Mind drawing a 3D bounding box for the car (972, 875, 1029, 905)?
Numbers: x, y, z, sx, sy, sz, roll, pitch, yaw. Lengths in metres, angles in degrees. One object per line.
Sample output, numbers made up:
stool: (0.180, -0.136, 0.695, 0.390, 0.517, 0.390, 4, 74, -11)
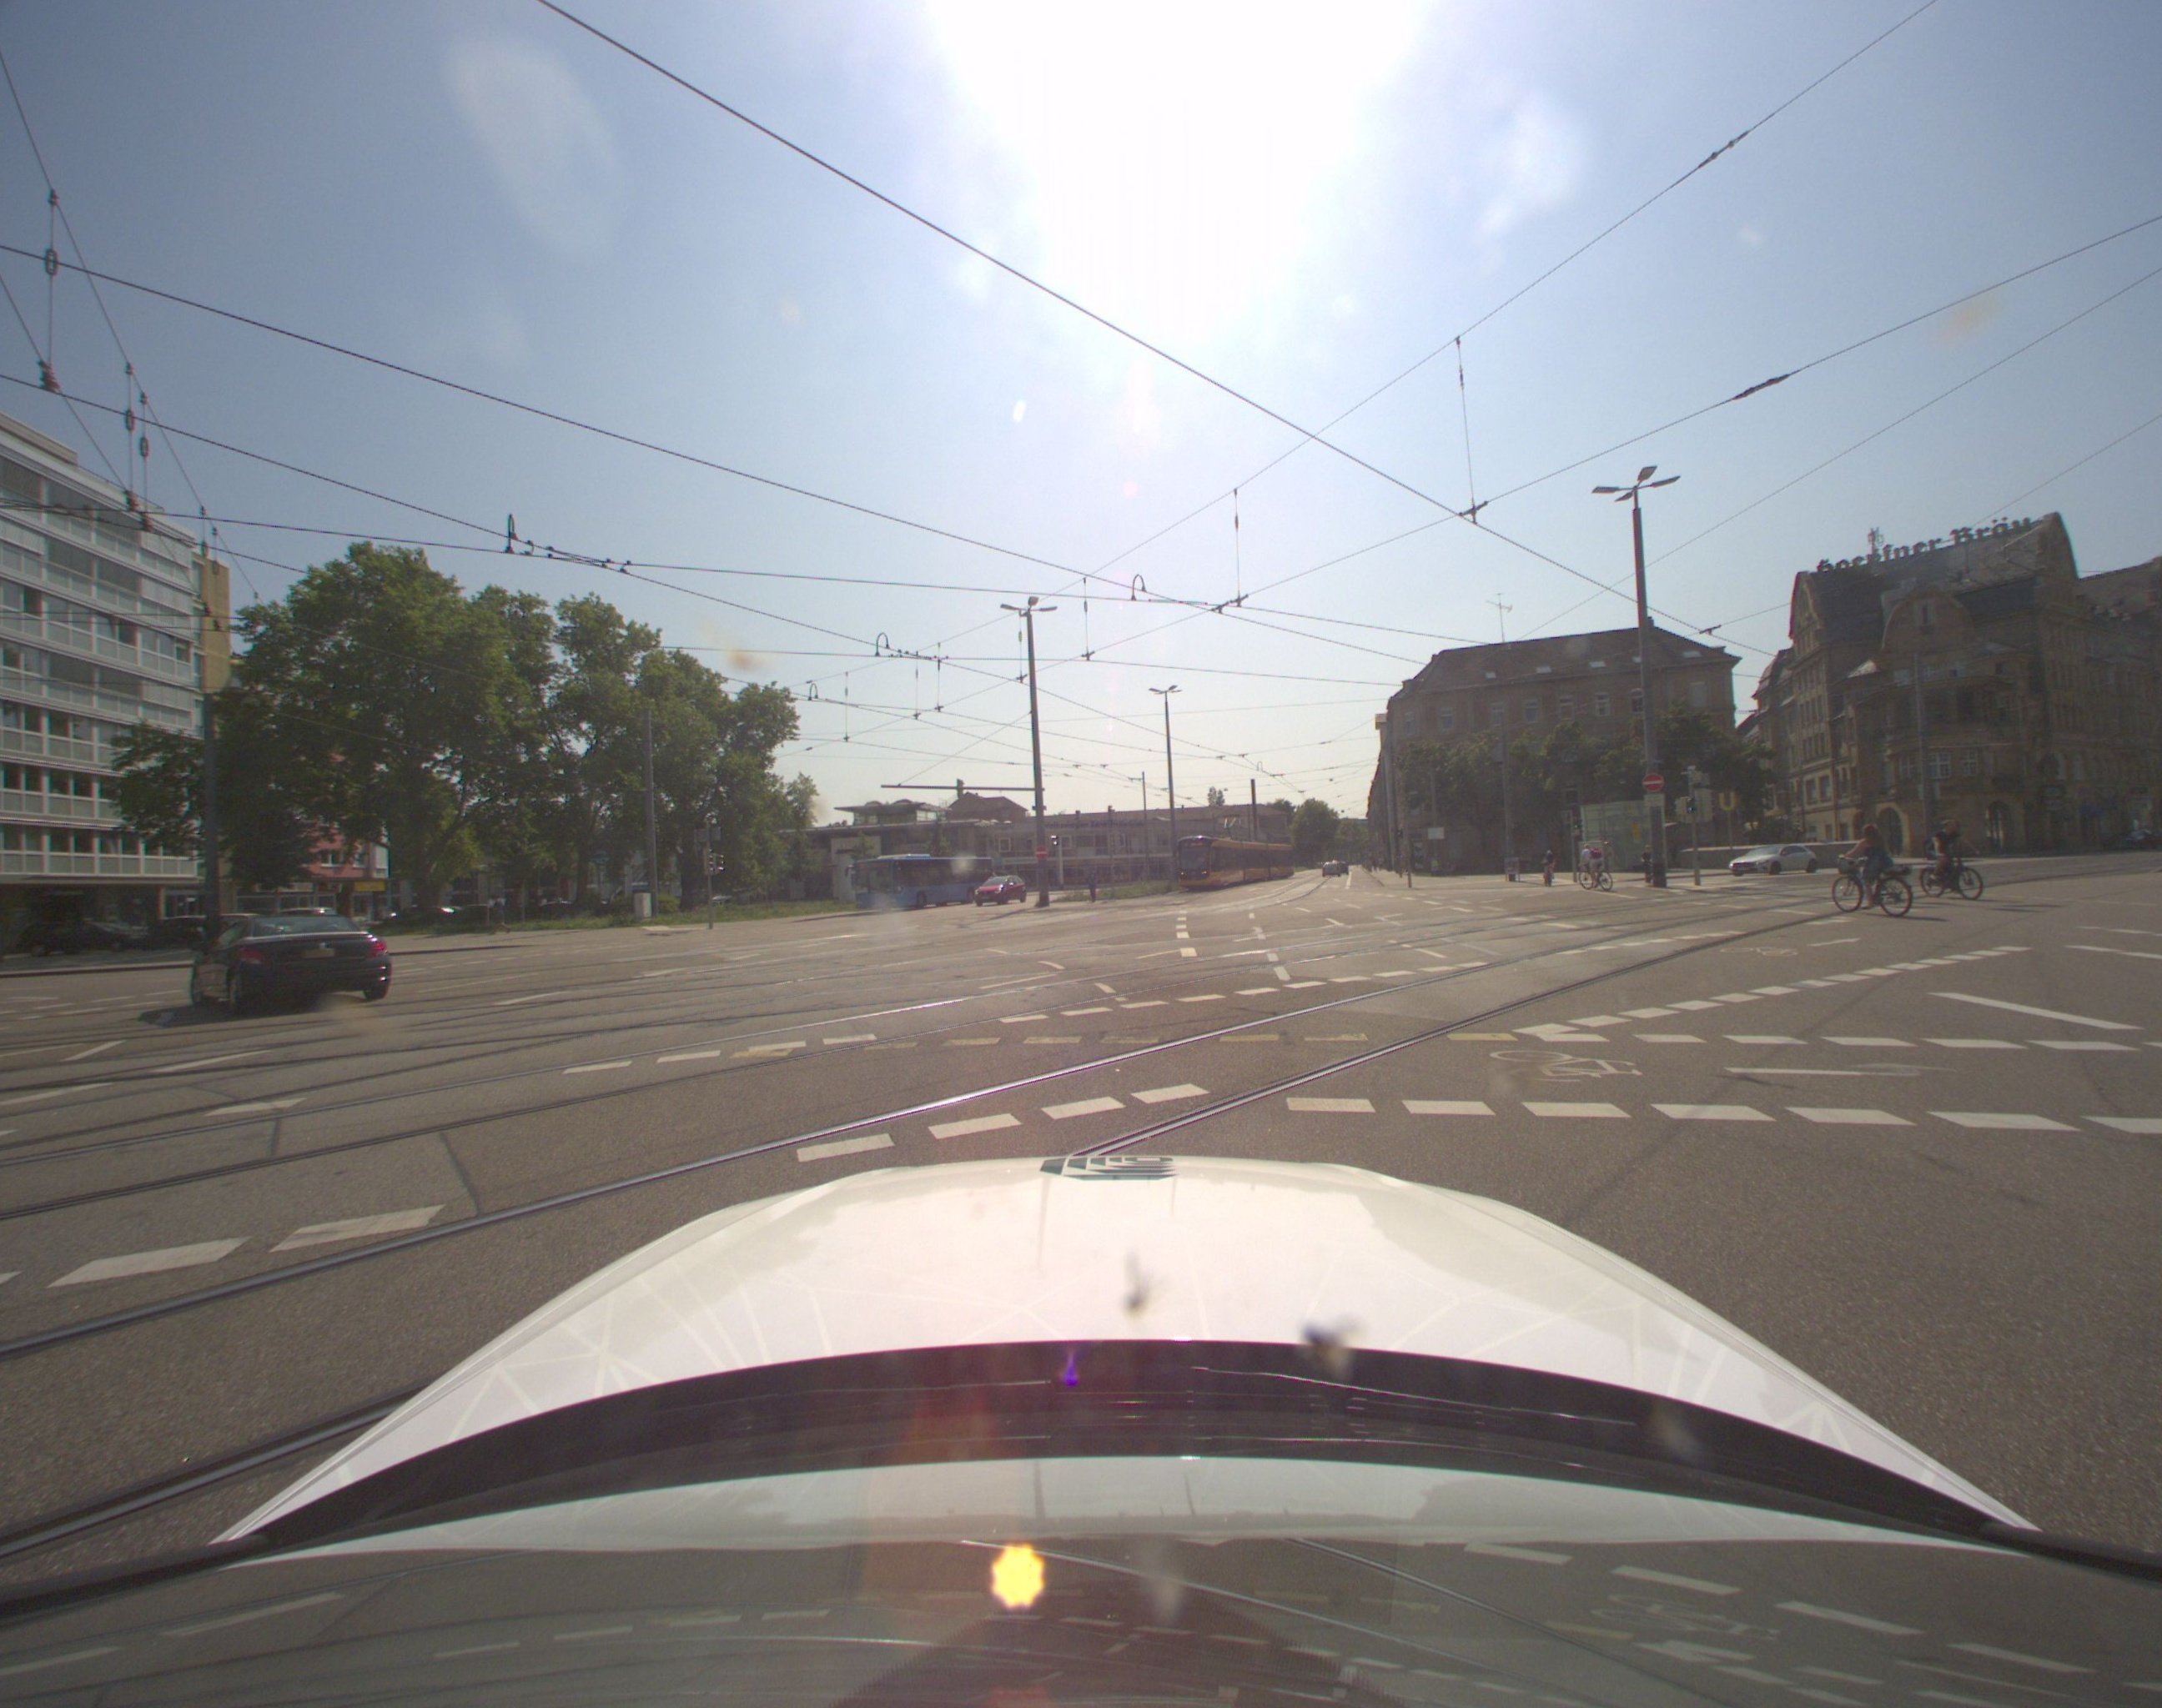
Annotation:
car: (-4.397, 1.941, 44.843, 1.611, 1.472, 3.790, -3, -1, 19)

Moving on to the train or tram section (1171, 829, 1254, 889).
train or tram section: (9.193, 0.460, 55.392, 2.564, 3.561, 12.282, -2, -2, 23)

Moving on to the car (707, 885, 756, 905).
car: (-36.099, 4.217, 84.133, 1.694, 1.753, 4.287, -4, -2, 37)

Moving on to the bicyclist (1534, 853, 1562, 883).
bicyclist: (20.967, 0.639, 36.610, 0.742, 1.320, 0.924, -3, -2, 9)

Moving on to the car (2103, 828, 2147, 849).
car: (74.603, -1.060, 58.186, 3.264, 1.398, 1.362, 0, -2, -28)

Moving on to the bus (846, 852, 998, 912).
bus: (-8.942, 1.521, 48.310, 2.702, 3.065, 12.143, -3, -2, 21)

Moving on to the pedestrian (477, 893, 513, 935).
pedestrian: (-24.355, 2.480, 33.847, 0.949, 1.609, 0.789, -3, -1, -17)

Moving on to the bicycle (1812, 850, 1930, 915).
bicycle: (14.943, 0.499, 15.491, 0.437, 1.111, 2.134, -3, 0, 9)

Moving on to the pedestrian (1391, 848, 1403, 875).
pedestrian: (23.861, 0.591, 61.486, 0.644, 2.014, 0.706, -3, -2, 15)

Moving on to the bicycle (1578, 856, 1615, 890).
bicycle: (17.650, 0.635, 27.913, 0.437, 1.111, 1.647, -3, -2, 10)

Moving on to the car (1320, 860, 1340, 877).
car: (24.923, 1.456, 81.519, 1.720, 1.574, 3.626, -2, -2, 15)

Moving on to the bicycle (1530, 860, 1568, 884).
bicycle: (20.974, 0.792, 36.563, 0.640, 0.998, 2.381, -3, -1, 9)

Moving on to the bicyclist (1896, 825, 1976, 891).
bicyclist: (19.661, 0.100, 18.747, 0.796, 1.423, 0.932, -3, -2, 9)

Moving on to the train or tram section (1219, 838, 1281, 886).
train or tram section: (14.115, 0.740, 66.997, 2.564, 3.561, 12.282, -2, -2, 23)

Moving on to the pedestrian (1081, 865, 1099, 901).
pedestrian: (0.459, 1.415, 39.714, 0.799, 1.687, 0.719, -3, -2, 1)

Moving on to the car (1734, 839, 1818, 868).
car: (33.342, -0.008, 39.060, 3.731, 1.288, 1.575, 0, -2, -23)

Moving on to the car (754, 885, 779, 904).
car: (-34.762, 4.438, 90.153, 2.333, 2.014, 6.764, 0, -2, -19)

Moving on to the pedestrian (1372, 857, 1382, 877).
pedestrian: (30.746, 1.339, 84.567, 0.834, 2.014, 0.812, -1, -2, 11)

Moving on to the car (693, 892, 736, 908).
car: (-39.074, 4.877, 86.893, 1.978, 1.508, 4.018, -3, -1, 17)

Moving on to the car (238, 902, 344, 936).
car: (-46.601, 3.832, 48.116, 4.069, 1.666, 1.781, -3, -1, -16)

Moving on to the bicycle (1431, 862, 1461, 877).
bicycle: (25.019, 1.040, 55.766, 1.770, 0.958, 0.463, -3, -2, 13)

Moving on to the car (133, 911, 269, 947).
car: (-44.304, 3.754, 41.120, 4.242, 1.470, 1.895, -3, -1, -16)

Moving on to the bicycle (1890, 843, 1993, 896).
bicycle: (19.667, 0.356, 18.671, 0.467, 1.126, 1.962, -3, -2, 9)

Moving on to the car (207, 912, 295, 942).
car: (-46.317, 4.064, 45.498, 3.095, 1.429, 1.395, -3, -2, -16)

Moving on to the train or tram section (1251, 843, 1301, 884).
train or tram section: (18.807, 1.004, 77.979, 2.564, 3.561, 12.282, -2, -2, 23)

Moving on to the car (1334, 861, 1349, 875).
car: (29.255, 1.584, 91.513, 1.498, 1.511, 3.639, -3, -1, 16)

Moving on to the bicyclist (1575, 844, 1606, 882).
bicyclist: (17.392, 0.294, 27.810, 0.652, 1.254, 0.646, -3, -2, 9)

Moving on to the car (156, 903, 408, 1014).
car: (-12.755, 1.586, 12.967, 3.949, 1.432, 1.807, -3, -2, 29)

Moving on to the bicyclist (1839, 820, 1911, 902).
bicyclist: (14.926, 0.136, 15.329, 0.652, 1.481, 0.646, -3, -2, 9)

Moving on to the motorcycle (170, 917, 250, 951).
motorcycle: (-34.232, 3.149, 32.022, 2.099, 1.137, 0.912, -3, -2, -1)

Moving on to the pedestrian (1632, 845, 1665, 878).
pedestrian: (23.917, 0.322, 34.349, 0.716, 1.351, 0.814, -3, -1, -6)

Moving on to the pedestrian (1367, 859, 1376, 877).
pedestrian: (34.372, 1.651, 96.381, 0.786, 2.014, 0.812, -1, -2, 11)

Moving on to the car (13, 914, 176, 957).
car: (-43.648, 3.572, 36.158, 4.242, 1.470, 1.895, -3, -1, -16)

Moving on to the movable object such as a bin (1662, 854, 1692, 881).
movable object such as a bin: (24.191, 0.558, 33.085, 0.810, 1.085, 1.044, -2, -2, 28)
